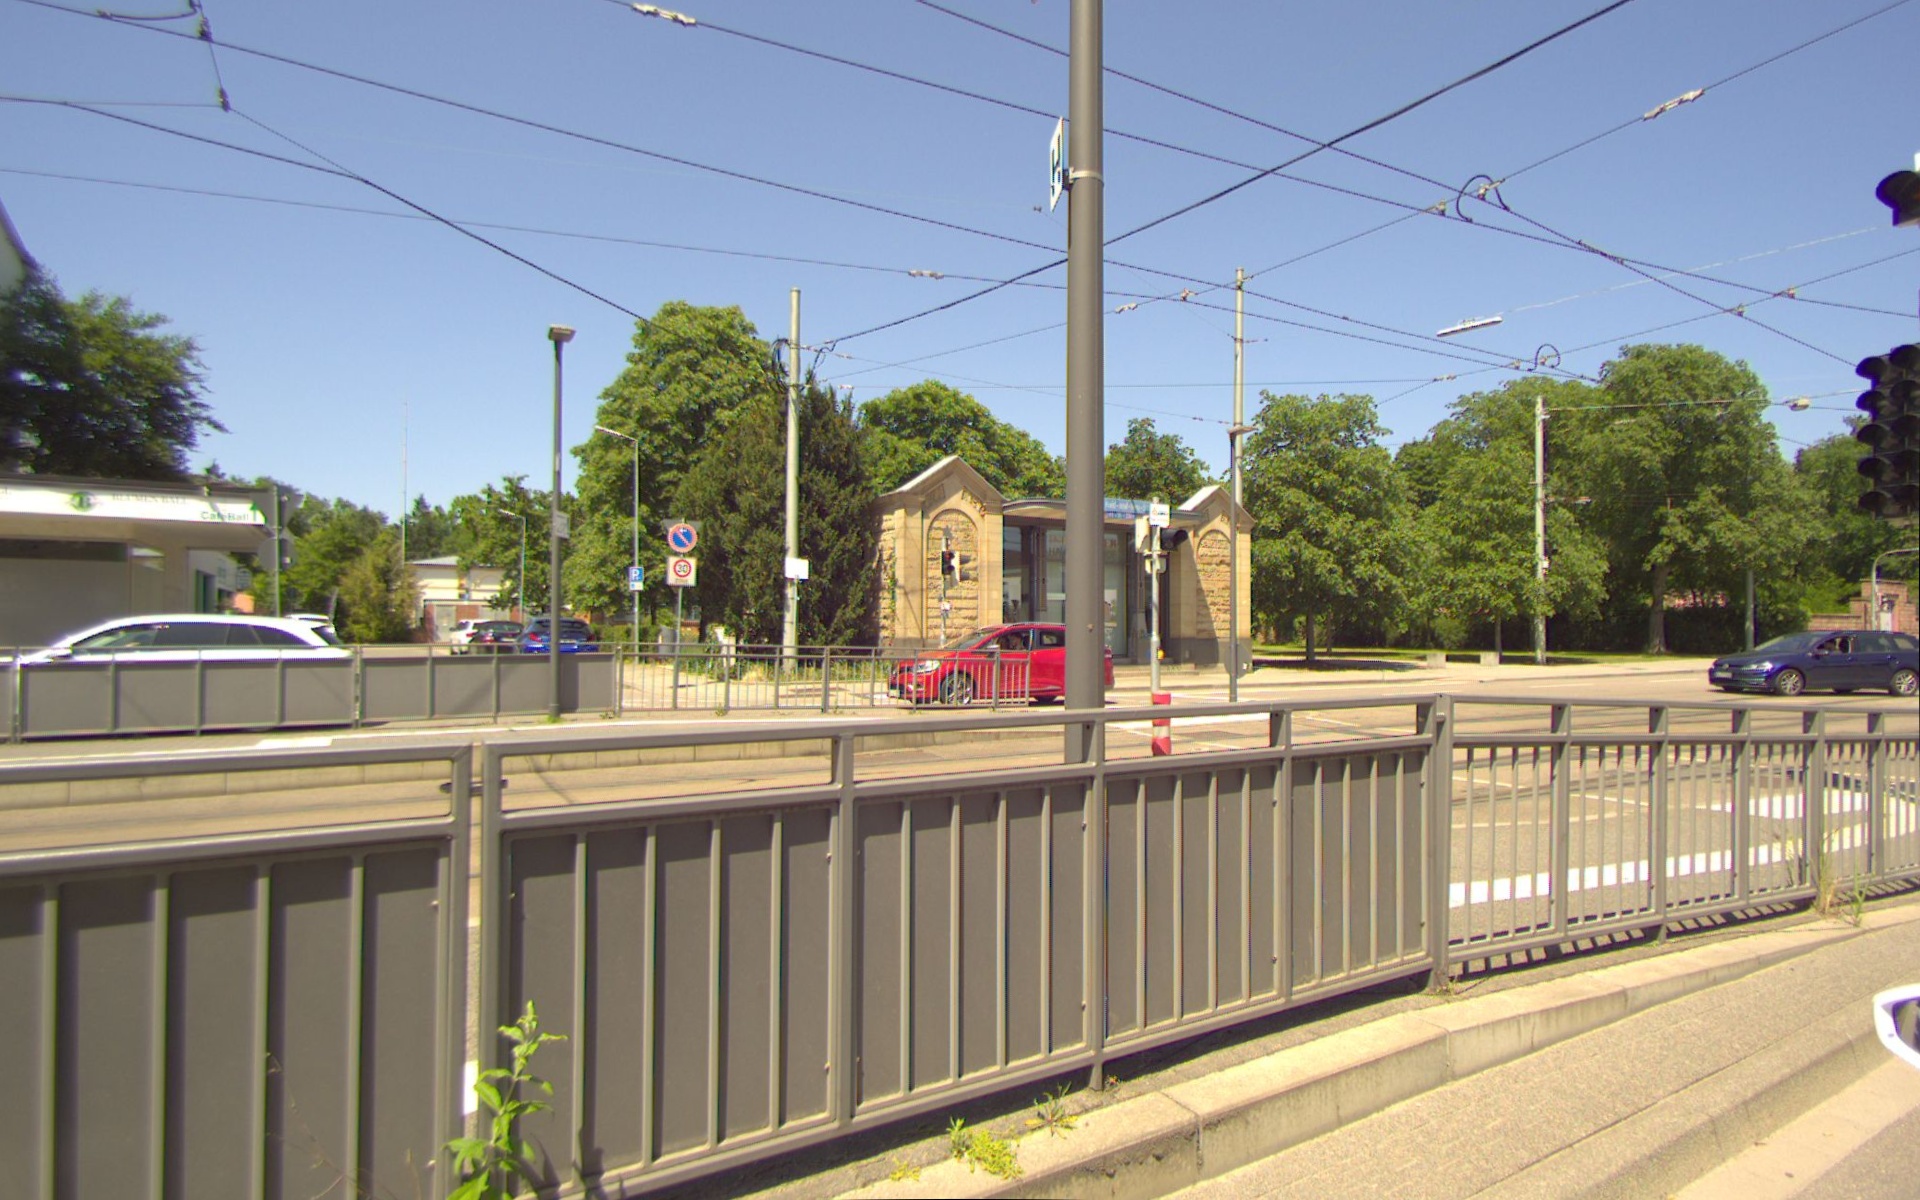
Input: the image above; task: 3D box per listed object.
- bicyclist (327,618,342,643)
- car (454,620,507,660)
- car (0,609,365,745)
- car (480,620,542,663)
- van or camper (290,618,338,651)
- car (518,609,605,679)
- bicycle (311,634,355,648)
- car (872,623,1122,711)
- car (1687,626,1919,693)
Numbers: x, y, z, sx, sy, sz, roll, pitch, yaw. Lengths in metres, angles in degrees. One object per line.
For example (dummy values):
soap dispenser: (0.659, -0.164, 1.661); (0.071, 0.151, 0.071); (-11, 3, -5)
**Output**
bicyclist: (-37.096, 1.825, 59.557); (0.520, 1.454, 0.621); (0, -1, -10)
car: (-18.824, 1.576, 39.341); (1.625, 1.465, 3.784); (1, -3, -29)
car: (-10.022, 0.898, 12.395); (4.571, 1.487, 1.809); (1, -3, -31)
car: (-15.299, 1.416, 34.127); (1.624, 1.388, 3.785); (1, -3, -29)
van or camper: (-32.070, 1.678, 49.818); (1.676, 1.587, 3.784); (1, -2, -38)
car: (-9.911, 1.024, 24.822); (1.799, 1.472, 3.934); (1, 1, -25)
bicycle: (-37.161, 2.425, 59.538); (2.154, 0.798, 0.617); (1, -1, -10)
car: (0.671, 1.149, 17.969); (4.118, 1.414, 1.813); (1, -2, -25)
car: (19.622, 1.349, 23.182); (4.390, 1.461, 1.862); (0, -1, -2)
